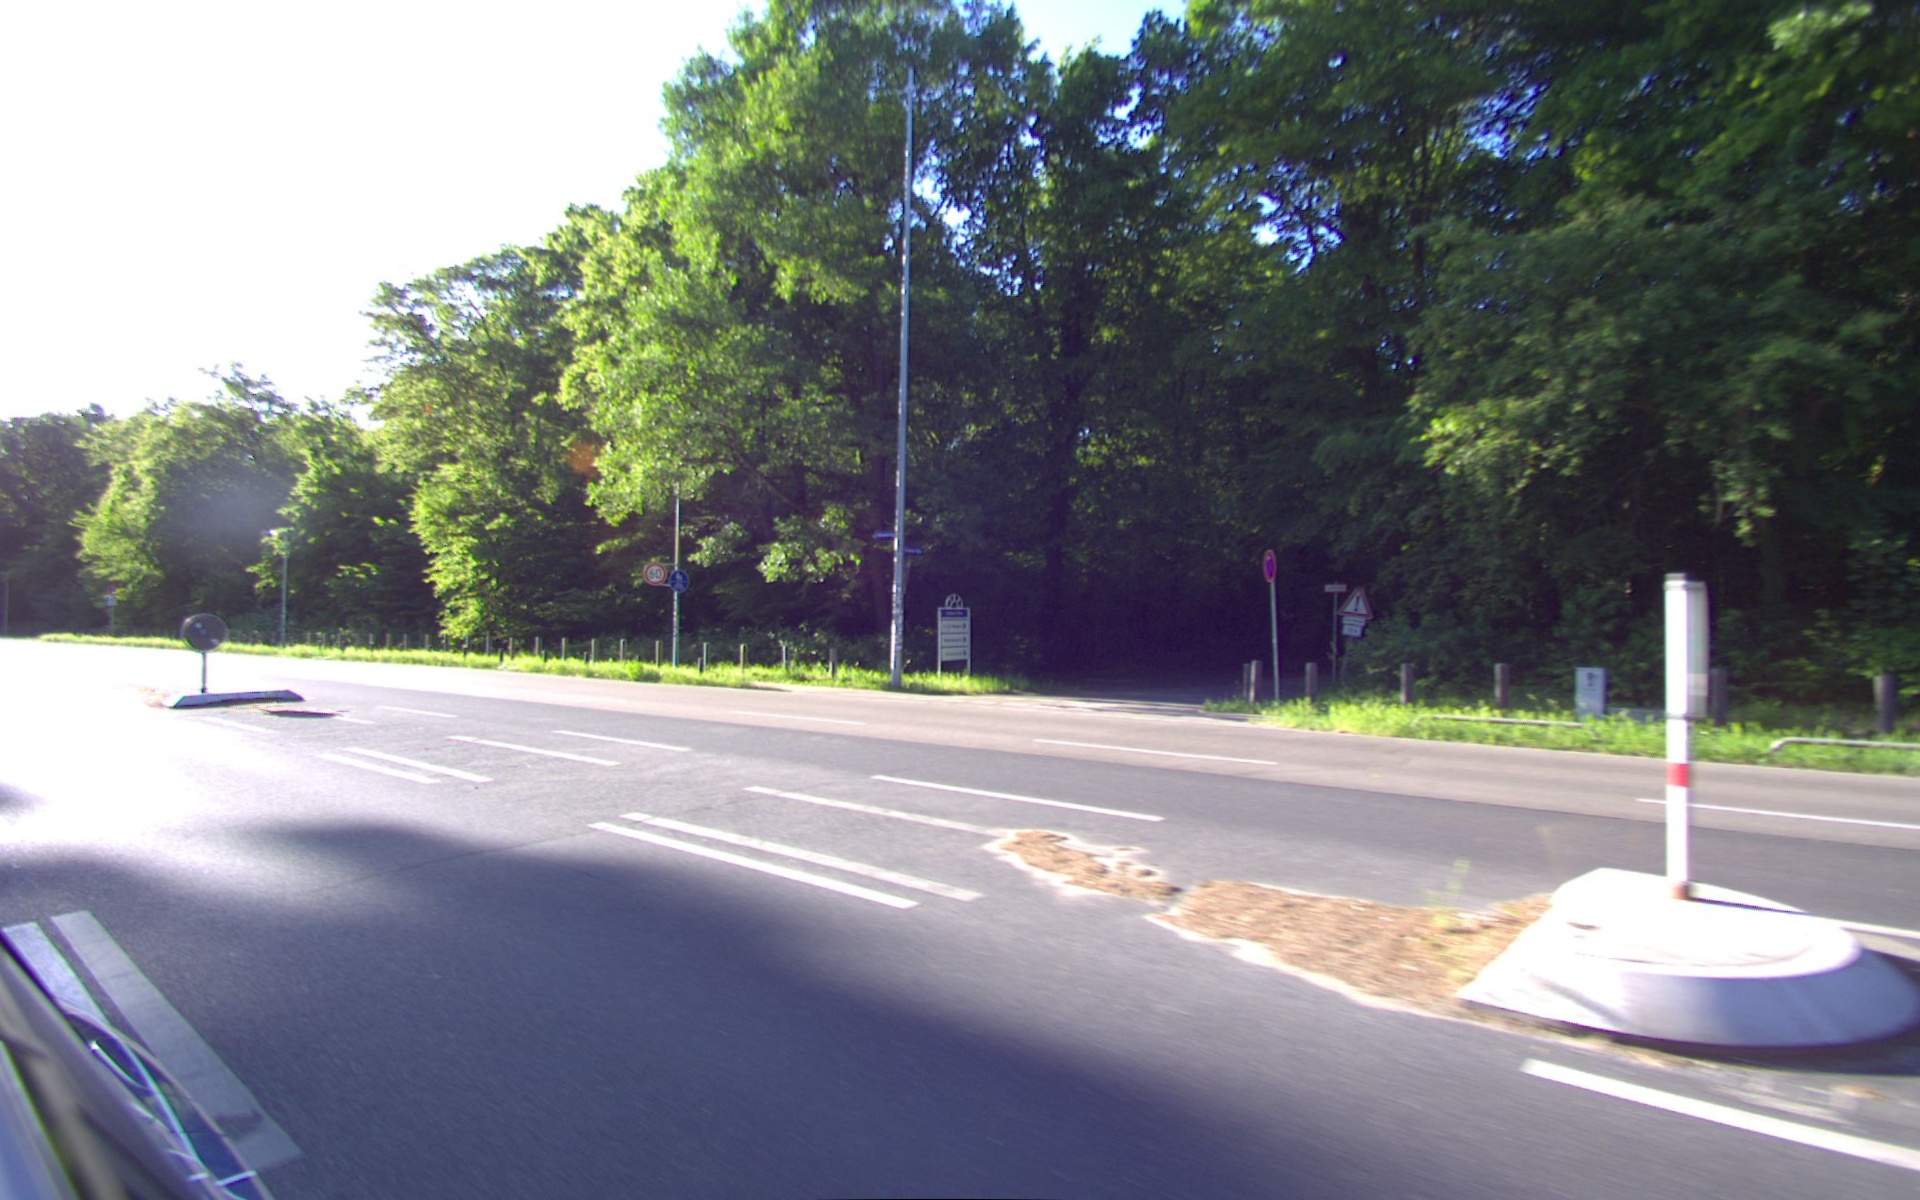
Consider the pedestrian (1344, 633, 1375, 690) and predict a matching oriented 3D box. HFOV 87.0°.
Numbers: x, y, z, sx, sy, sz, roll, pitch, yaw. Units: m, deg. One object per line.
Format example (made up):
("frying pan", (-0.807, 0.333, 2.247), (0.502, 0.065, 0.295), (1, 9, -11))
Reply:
("pedestrian", (12.597, 1.922, 31.905), (0.704, 1.760, 0.644), (-2, -3, 44))
